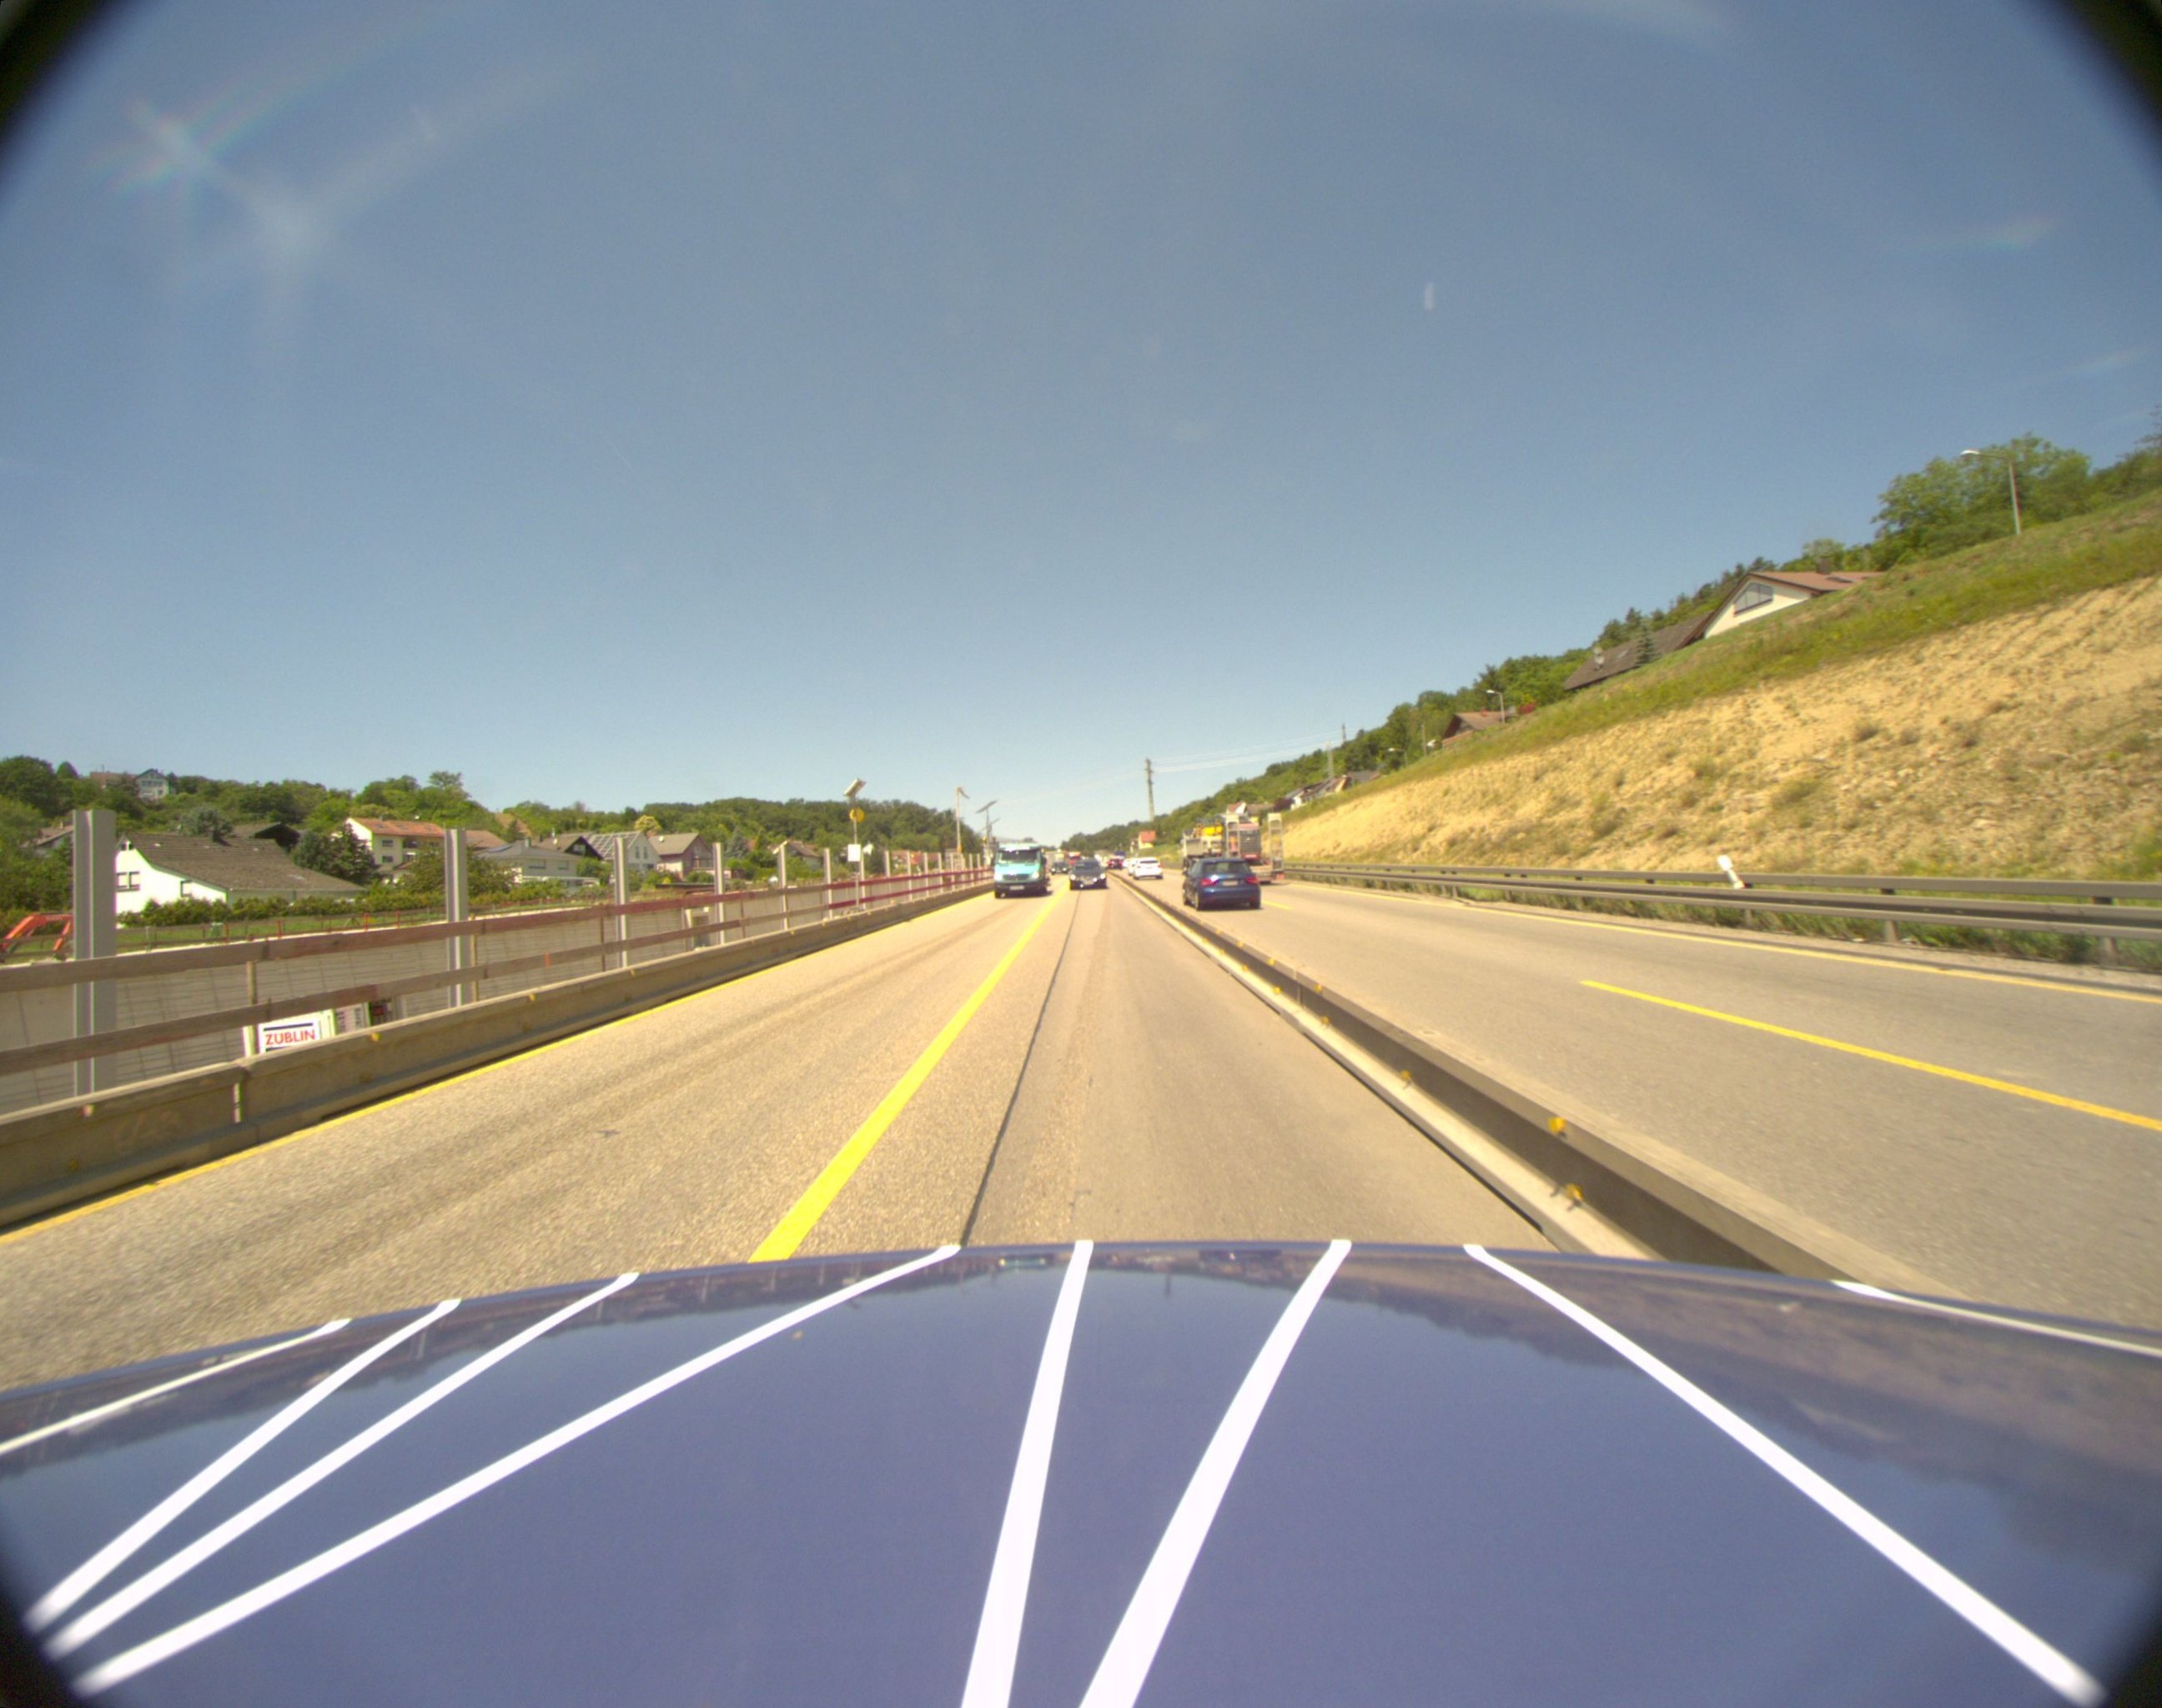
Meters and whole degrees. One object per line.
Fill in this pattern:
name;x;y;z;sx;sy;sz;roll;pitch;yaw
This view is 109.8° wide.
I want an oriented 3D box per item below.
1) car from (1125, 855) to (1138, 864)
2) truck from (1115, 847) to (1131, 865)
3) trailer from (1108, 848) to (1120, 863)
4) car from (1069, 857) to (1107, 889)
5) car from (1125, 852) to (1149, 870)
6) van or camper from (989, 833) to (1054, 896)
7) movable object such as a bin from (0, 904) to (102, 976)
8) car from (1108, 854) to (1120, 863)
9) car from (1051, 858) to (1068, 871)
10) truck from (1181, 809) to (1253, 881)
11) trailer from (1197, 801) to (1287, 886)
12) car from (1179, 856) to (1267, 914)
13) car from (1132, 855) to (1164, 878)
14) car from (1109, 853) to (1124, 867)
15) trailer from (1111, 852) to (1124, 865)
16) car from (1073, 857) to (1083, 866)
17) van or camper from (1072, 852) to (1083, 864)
car;8.901;0.926;133.564;1.904;1.575;4.514;-3;0;0
truck;10.312;0.528;187.374;3.251;4.135;13.978;-2;0;0
trailer;10.183;0.484;234.525;2.817;4.261;14.035;-3;0;0
car;0.354;0.930;38.153;1.746;1.420;4.001;-2;-1;1
car;4.665;0.558;63.527;1.689;1.421;3.292;-2;0;0
van or camper;-2.518;0.461;34.335;2.097;2.458;7.672;-2;-1;1
movable object such as a bin;-37.088;2.996;25.863;1.998;2.226;4.152;-3;0;2
car;5.638;0.799;131.794;1.820;1.583;4.290;-3;0;0
car;-2.266;1.159;82.226;1.611;1.324;3.497;-2;-1;1
truck;7.847;-0.475;45.144;2.593;3.701;9.332;-2;0;1
trailer;7.740;-0.458;37.801;2.593;3.616;9.078;-2;0;1
car;3.882;0.800;21.348;1.689;1.421;3.849;-2;0;0
car;4.427;0.800;50.594;1.689;1.421;4.122;-2;0;0
car;4.787;0.811;104.154;1.895;1.698;4.561;-2;0;1
trailer;5.621;0.678;116.663;1.651;2.014;4.269;-2;0;-2
car;-0.658;1.493;154.924;1.895;1.698;4.561;-2;0;1
van or camper;-0.760;0.976;179.294;2.321;2.513;4.528;-4;-1;1
